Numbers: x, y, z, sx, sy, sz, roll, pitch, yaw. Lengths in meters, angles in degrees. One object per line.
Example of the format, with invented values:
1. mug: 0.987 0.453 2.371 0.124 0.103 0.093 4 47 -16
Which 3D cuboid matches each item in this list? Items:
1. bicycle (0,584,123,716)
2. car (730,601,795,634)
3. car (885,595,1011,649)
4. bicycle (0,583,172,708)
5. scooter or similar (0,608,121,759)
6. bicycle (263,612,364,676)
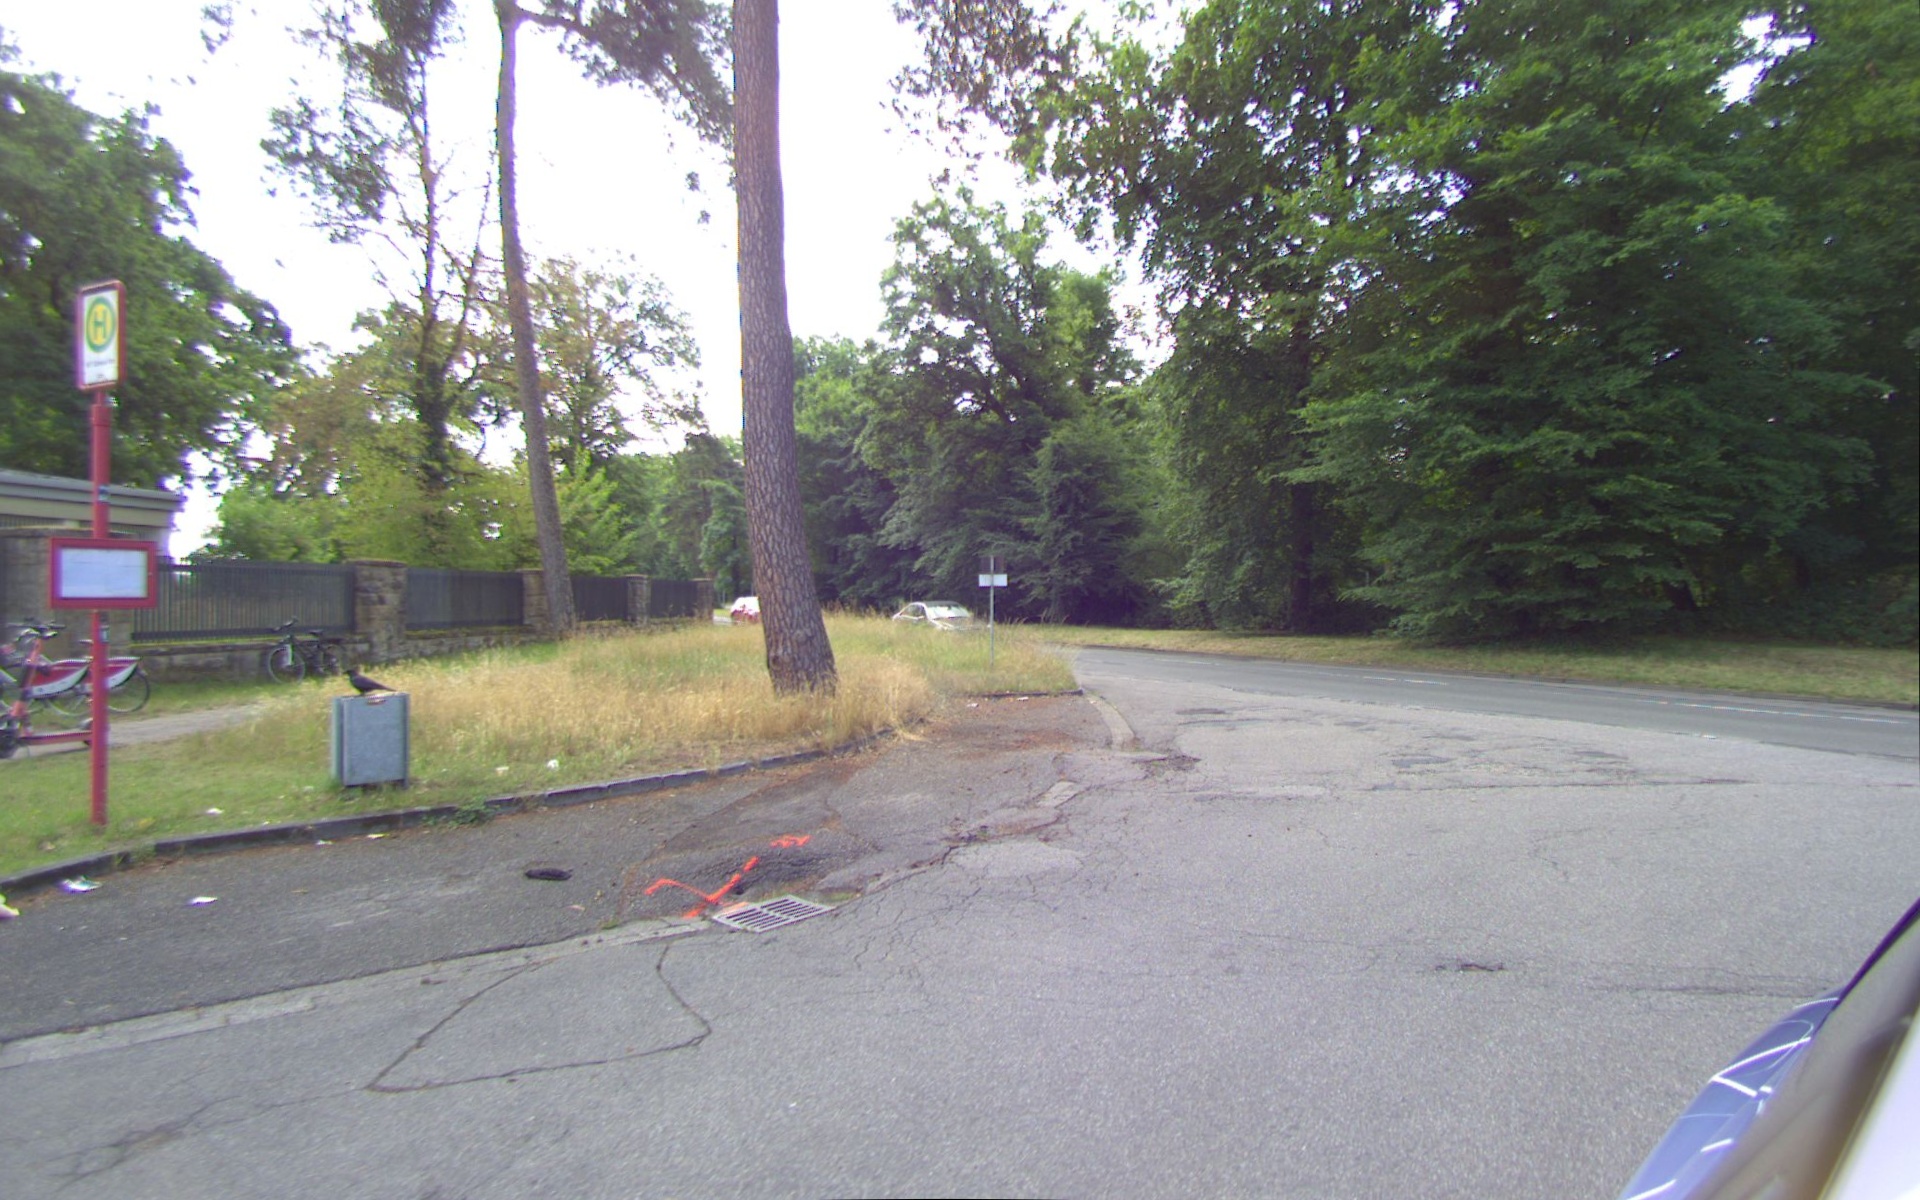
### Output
1. bicycle: -10.594 0.545 11.369 1.761 1.435 0.590 1 0 -9
2. car: -9.644 0.825 49.145 1.959 1.482 4.209 0 1 -28
3. car: -0.468 0.697 31.142 1.928 1.483 4.533 -2 -1 -29
4. bicycle: -10.596 0.526 11.986 1.942 1.435 0.579 1 0 -9
5. scooter or similar: -8.299 0.717 9.175 0.430 1.243 1.090 -1 1 1
6. bicycle: -11.334 0.746 17.808 0.367 1.029 1.950 0 0 6
